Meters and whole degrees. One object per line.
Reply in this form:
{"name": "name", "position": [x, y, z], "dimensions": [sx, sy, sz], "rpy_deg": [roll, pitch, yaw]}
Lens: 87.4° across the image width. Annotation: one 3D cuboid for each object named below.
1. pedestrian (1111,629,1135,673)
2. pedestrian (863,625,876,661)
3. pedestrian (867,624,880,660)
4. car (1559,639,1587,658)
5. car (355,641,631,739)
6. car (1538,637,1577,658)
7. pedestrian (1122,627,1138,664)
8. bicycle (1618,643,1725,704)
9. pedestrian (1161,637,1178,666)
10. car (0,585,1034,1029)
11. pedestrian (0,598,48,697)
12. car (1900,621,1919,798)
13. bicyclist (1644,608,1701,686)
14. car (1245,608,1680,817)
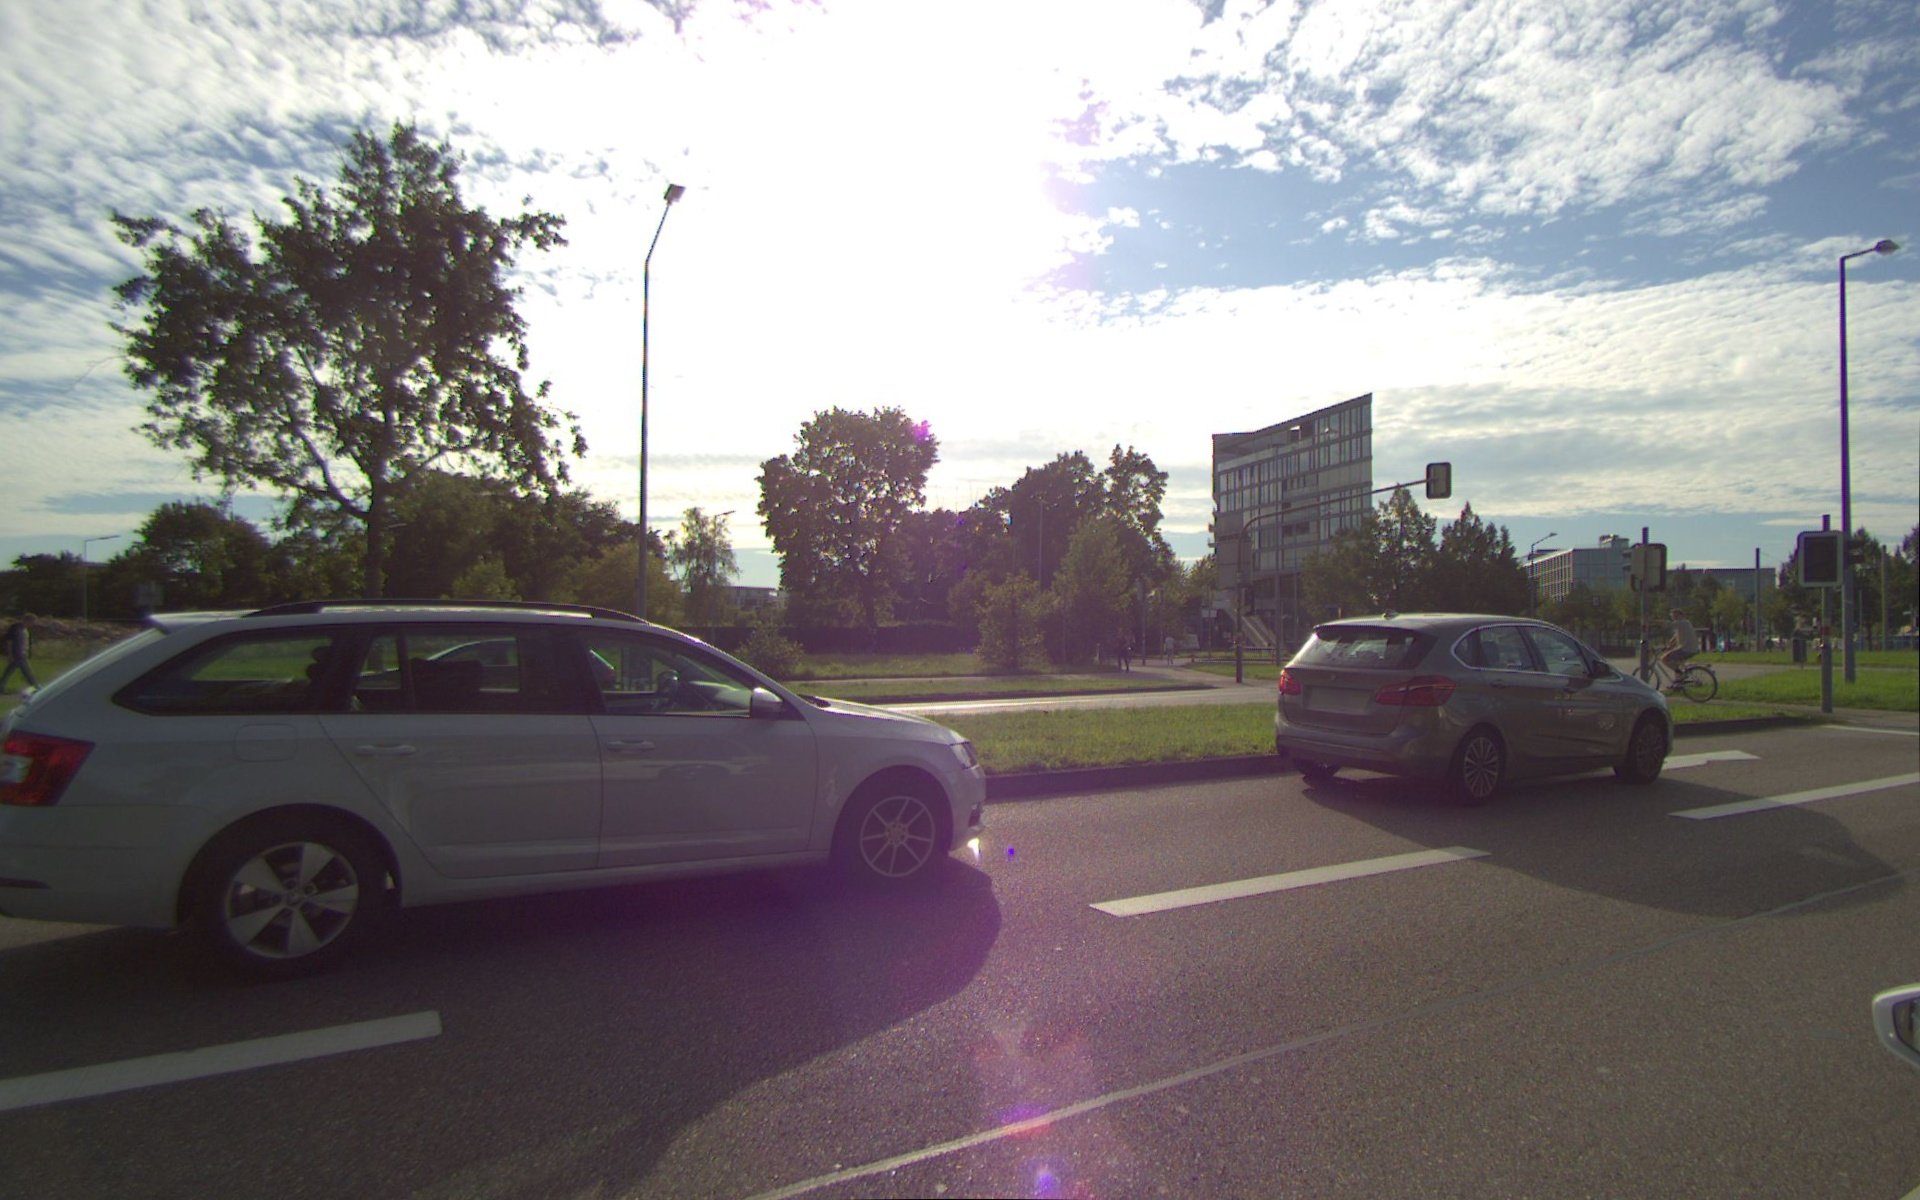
{"name": "pedestrian", "position": [6.133, 1.905, 37.790], "dimensions": [0.582, 1.602, 0.579], "rpy_deg": [4, 2, 32]}
{"name": "pedestrian", "position": [-5.083, 2.404, 56.451], "dimensions": [0.675, 2.040, 0.641], "rpy_deg": [0, -2, -5]}
{"name": "pedestrian", "position": [-4.961, 2.403, 57.393], "dimensions": [0.723, 2.040, 0.739], "rpy_deg": [0, -2, -6]}
{"name": "car", "position": [51.224, 4.041, 83.920], "dimensions": [1.572, 1.433, 3.656], "rpy_deg": [-1, -4, 38]}
{"name": "car", "position": [-8.122, 1.535, 17.584], "dimensions": [4.178, 1.452, 1.900], "rpy_deg": [0, -5, -31]}
{"name": "car", "position": [45.687, 3.601, 76.751], "dimensions": [1.767, 1.595, 3.978], "rpy_deg": [-2, -3, 42]}
{"name": "pedestrian", "position": [9.677, 2.579, 57.111], "dimensions": [0.863, 2.040, 0.936], "rpy_deg": [0, -2, 8]}
{"name": "bicycle", "position": [14.524, 1.473, 20.537], "dimensions": [1.707, 1.179, 0.652], "rpy_deg": [-1, -3, 45]}
{"name": "pedestrian", "position": [11.309, 2.775, 54.279], "dimensions": [0.608, 1.589, 0.651], "rpy_deg": [2, -2, -30]}
{"name": "car", "position": [-1.922, 0.776, 5.231], "dimensions": [4.429, 1.518, 1.690], "rpy_deg": [2, -1, -31]}
{"name": "pedestrian", "position": [-19.920, 1.001, 21.166], "dimensions": [0.857, 2.040, 0.671], "rpy_deg": [1, -2, -30]}
{"name": "car", "position": [10.529, 1.000, 8.999], "dimensions": [4.559, 1.502, 1.881], "rpy_deg": [2, -1, -31]}
{"name": "bicyclist", "position": [14.561, 0.958, 20.532], "dimensions": [0.840, 1.546, 0.736], "rpy_deg": [-2, -3, 44]}
{"name": "car", "position": [4.723, 0.902, 9.329], "dimensions": [3.971, 1.579, 1.721], "rpy_deg": [2, -1, -30]}
